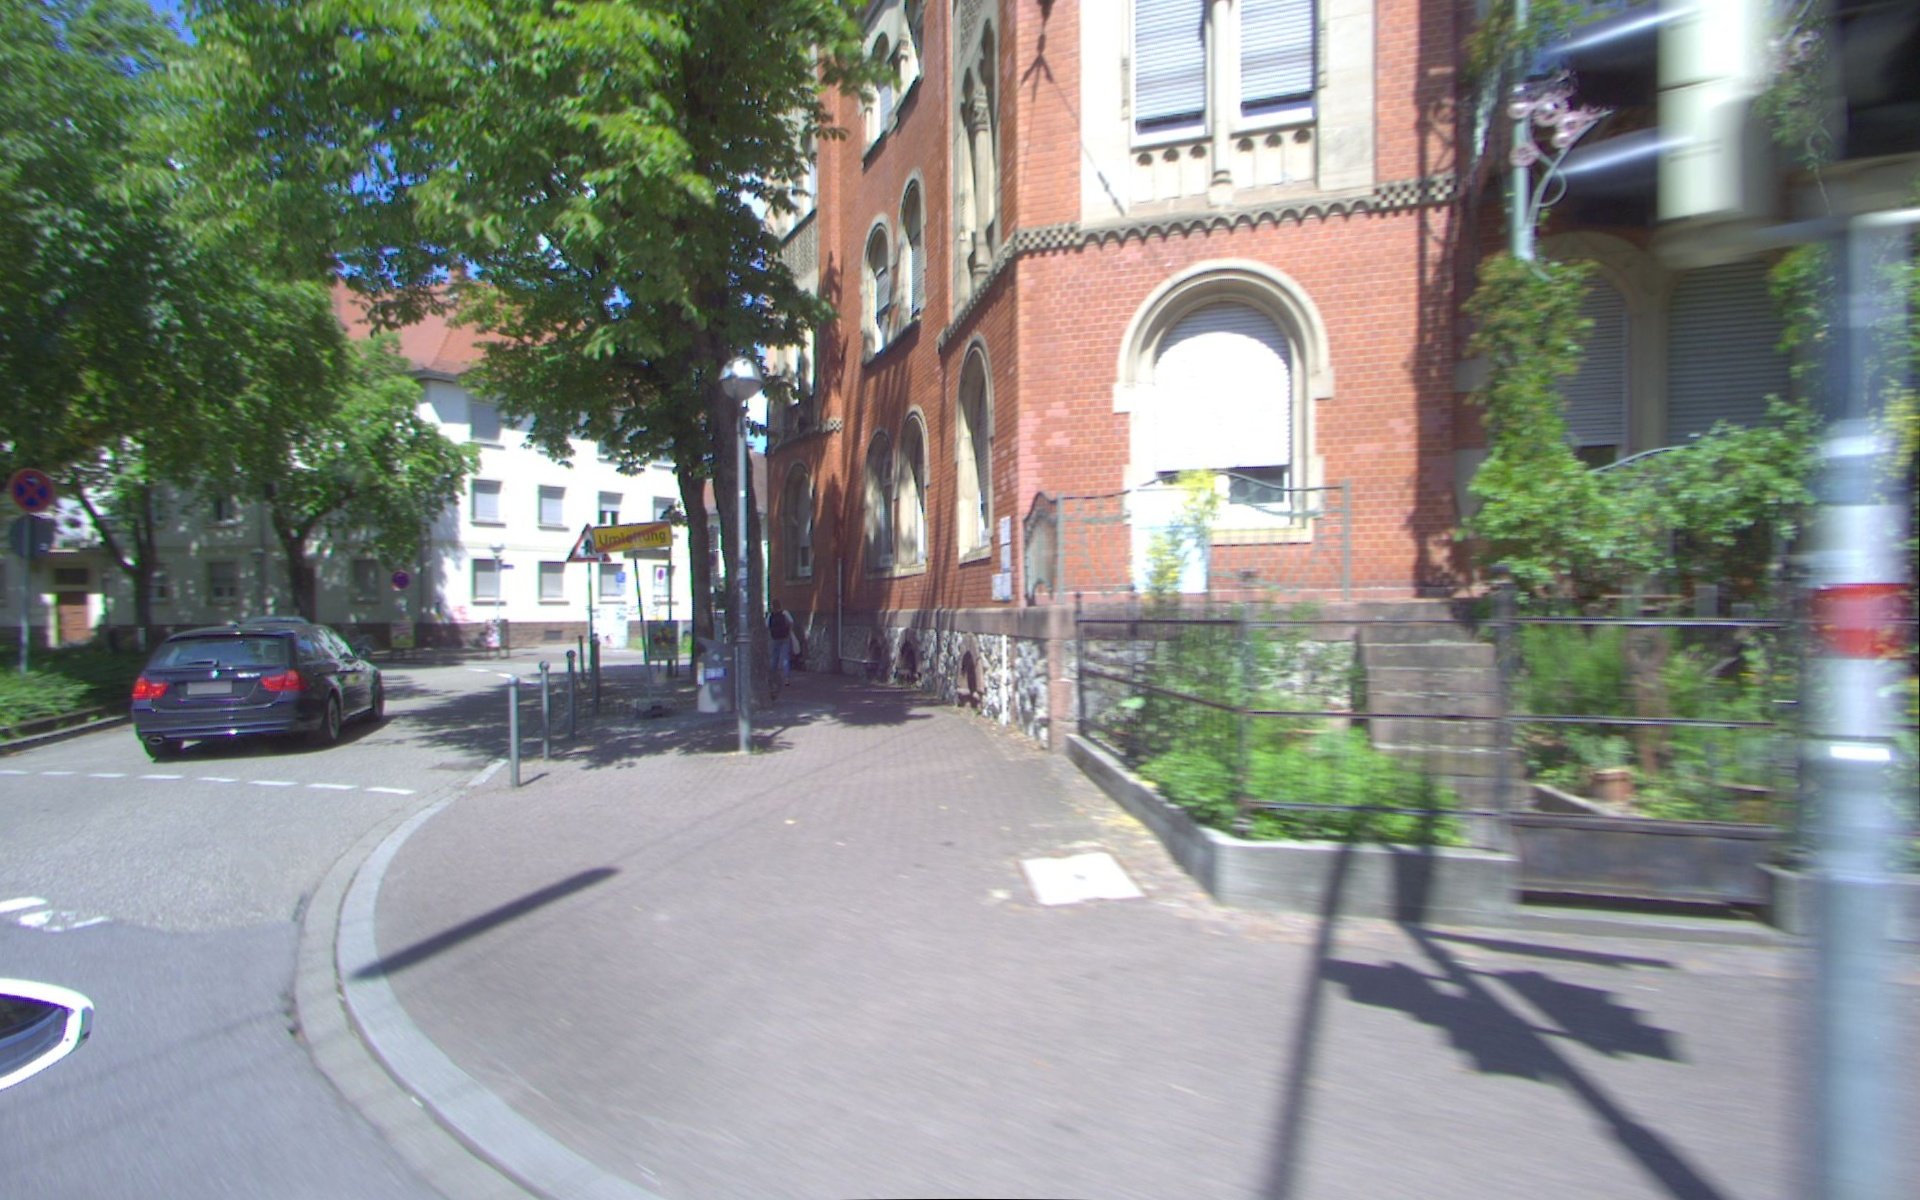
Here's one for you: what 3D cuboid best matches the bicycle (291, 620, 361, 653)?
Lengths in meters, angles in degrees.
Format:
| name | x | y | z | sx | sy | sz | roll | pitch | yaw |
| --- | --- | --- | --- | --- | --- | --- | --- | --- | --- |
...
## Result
| name | x | y | z | sx | sy | sz | roll | pitch | yaw |
| --- | --- | --- | --- | --- | --- | --- | --- | --- | --- |
| bicycle | -21.974 | 1.251 | 34.759 | 0.547 | 1.072 | 2.212 | 0 | 0 | 19 |

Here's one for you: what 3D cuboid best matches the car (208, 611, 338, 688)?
| name | x | y | z | sx | sy | sz | roll | pitch | yaw |
| --- | --- | --- | --- | --- | --- | --- | --- | --- | --- |
| car | -14.903 | 0.994 | 21.651 | 3.646 | 1.504 | 1.675 | 0 | 0 | 45 |

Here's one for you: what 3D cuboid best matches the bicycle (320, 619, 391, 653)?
| name | x | y | z | sx | sy | sz | roll | pitch | yaw |
| --- | --- | --- | --- | --- | --- | --- | --- | --- | --- |
| bicycle | -20.439 | 1.208 | 33.922 | 0.642 | 1.072 | 2.214 | 0 | 0 | 16 |

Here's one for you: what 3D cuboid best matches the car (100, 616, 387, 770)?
| name | x | y | z | sx | sy | sz | roll | pitch | yaw |
| --- | --- | --- | --- | --- | --- | --- | --- | --- | --- |
| car | -8.302 | 0.936 | 12.095 | 1.699 | 1.428 | 4.551 | 0 | 0 | -21 |

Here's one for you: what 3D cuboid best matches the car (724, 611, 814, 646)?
| name | x | y | z | sx | sy | sz | roll | pitch | yaw |
| --- | --- | --- | --- | --- | --- | --- | --- | --- | --- |
| car | -7.938 | 1.142 | 41.531 | 3.685 | 1.394 | 1.670 | -1 | 0 | 38 |

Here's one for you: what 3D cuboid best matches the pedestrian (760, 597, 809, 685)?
| name | x | y | z | sx | sy | sz | roll | pitch | yaw |
| --- | --- | --- | --- | --- | --- | --- | --- | --- | --- |
| pedestrian | -3.279 | 0.747 | 18.649 | 0.738 | 1.577 | 0.799 | 0 | 0 | -23 |

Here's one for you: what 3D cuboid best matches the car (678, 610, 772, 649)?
| name | x | y | z | sx | sy | sz | roll | pitch | yaw |
| --- | --- | --- | --- | --- | --- | --- | --- | --- | --- |
| car | -9.243 | 1.131 | 39.287 | 3.685 | 1.461 | 1.670 | -1 | 0 | 38 |
